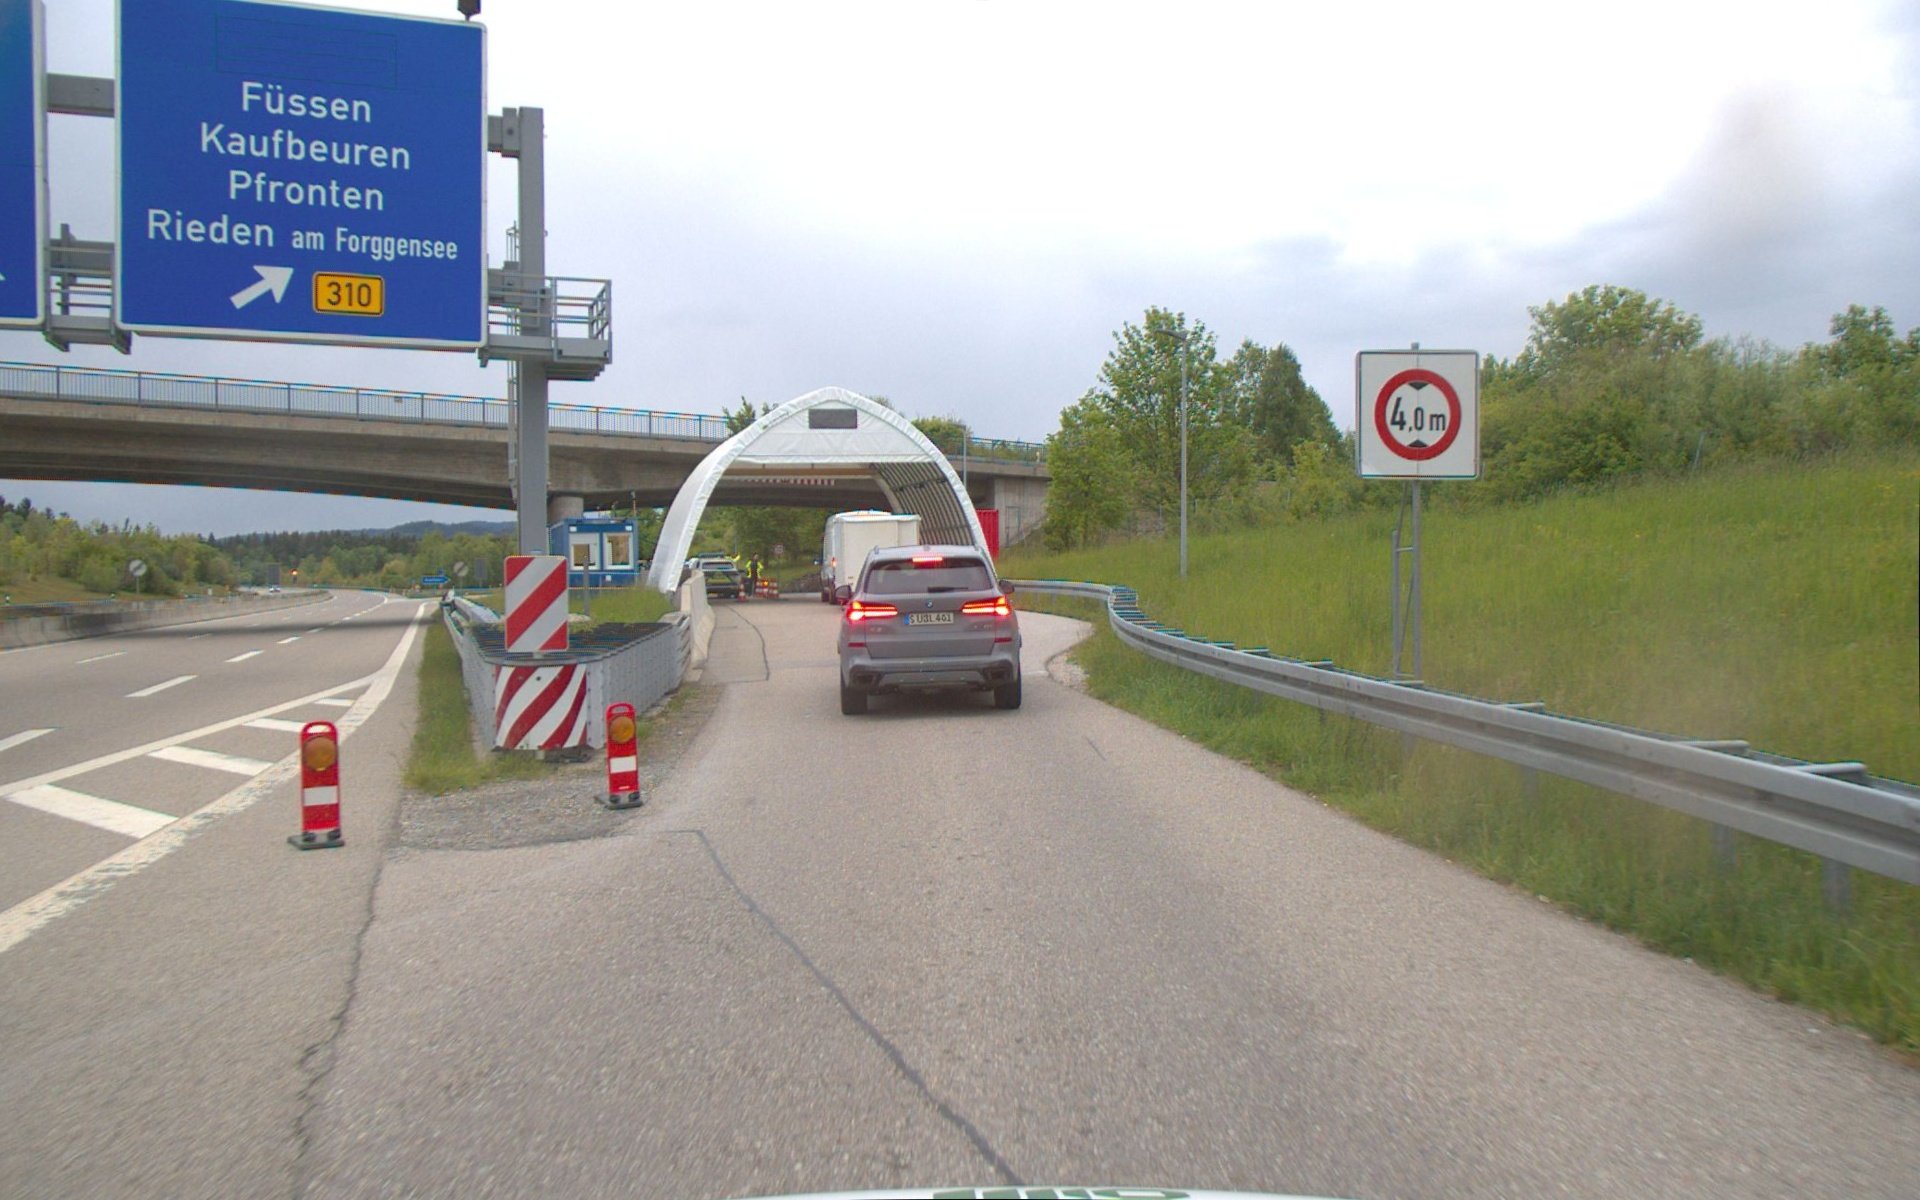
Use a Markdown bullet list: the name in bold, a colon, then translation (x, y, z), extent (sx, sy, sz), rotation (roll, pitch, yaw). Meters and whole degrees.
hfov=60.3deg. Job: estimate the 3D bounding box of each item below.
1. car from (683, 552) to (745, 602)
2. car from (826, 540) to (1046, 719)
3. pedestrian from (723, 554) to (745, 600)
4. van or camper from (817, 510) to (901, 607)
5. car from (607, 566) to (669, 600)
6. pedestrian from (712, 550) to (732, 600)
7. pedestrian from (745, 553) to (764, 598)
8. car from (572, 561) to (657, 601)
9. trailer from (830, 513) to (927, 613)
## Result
- **car**: translation (-9.435, -0.876, 63.226), extent (1.960, 1.802, 3.752), rotation (-2, 1, -14)
- **car**: translation (-0.147, 0.276, 18.695), extent (1.951, 1.749, 4.003), rotation (-2, 1, 6)
- **pedestrian**: translation (-8.994, -0.918, 65.829), extent (0.708, 1.806, 0.687), rotation (-2, 1, -14)
- **van or camper**: translation (-3.230, -1.238, 51.854), extent (2.116, 2.811, 5.861), rotation (-2, 0, -8)
- **car**: translation (-15.219, -0.794, 78.055), extent (1.505, 1.467, 3.268), rotation (-3, 1, -39)
- **pedestrian**: translation (-9.603, -1.013, 66.729), extent (0.708, 1.979, 0.687), rotation (-2, 1, -14)
- **pedestrian**: translation (-8.301, -0.990, 66.856), extent (0.637, 1.806, 0.603), rotation (-2, 1, -16)
- **car**: translation (-17.789, -1.006, 85.340), extent (3.904, 1.886, 1.710), rotation (-2, 1, 1)
- **trailer**: translation (-2.341, -0.952, 45.552), extent (2.235, 2.473, 6.809), rotation (-2, 0, -6)
